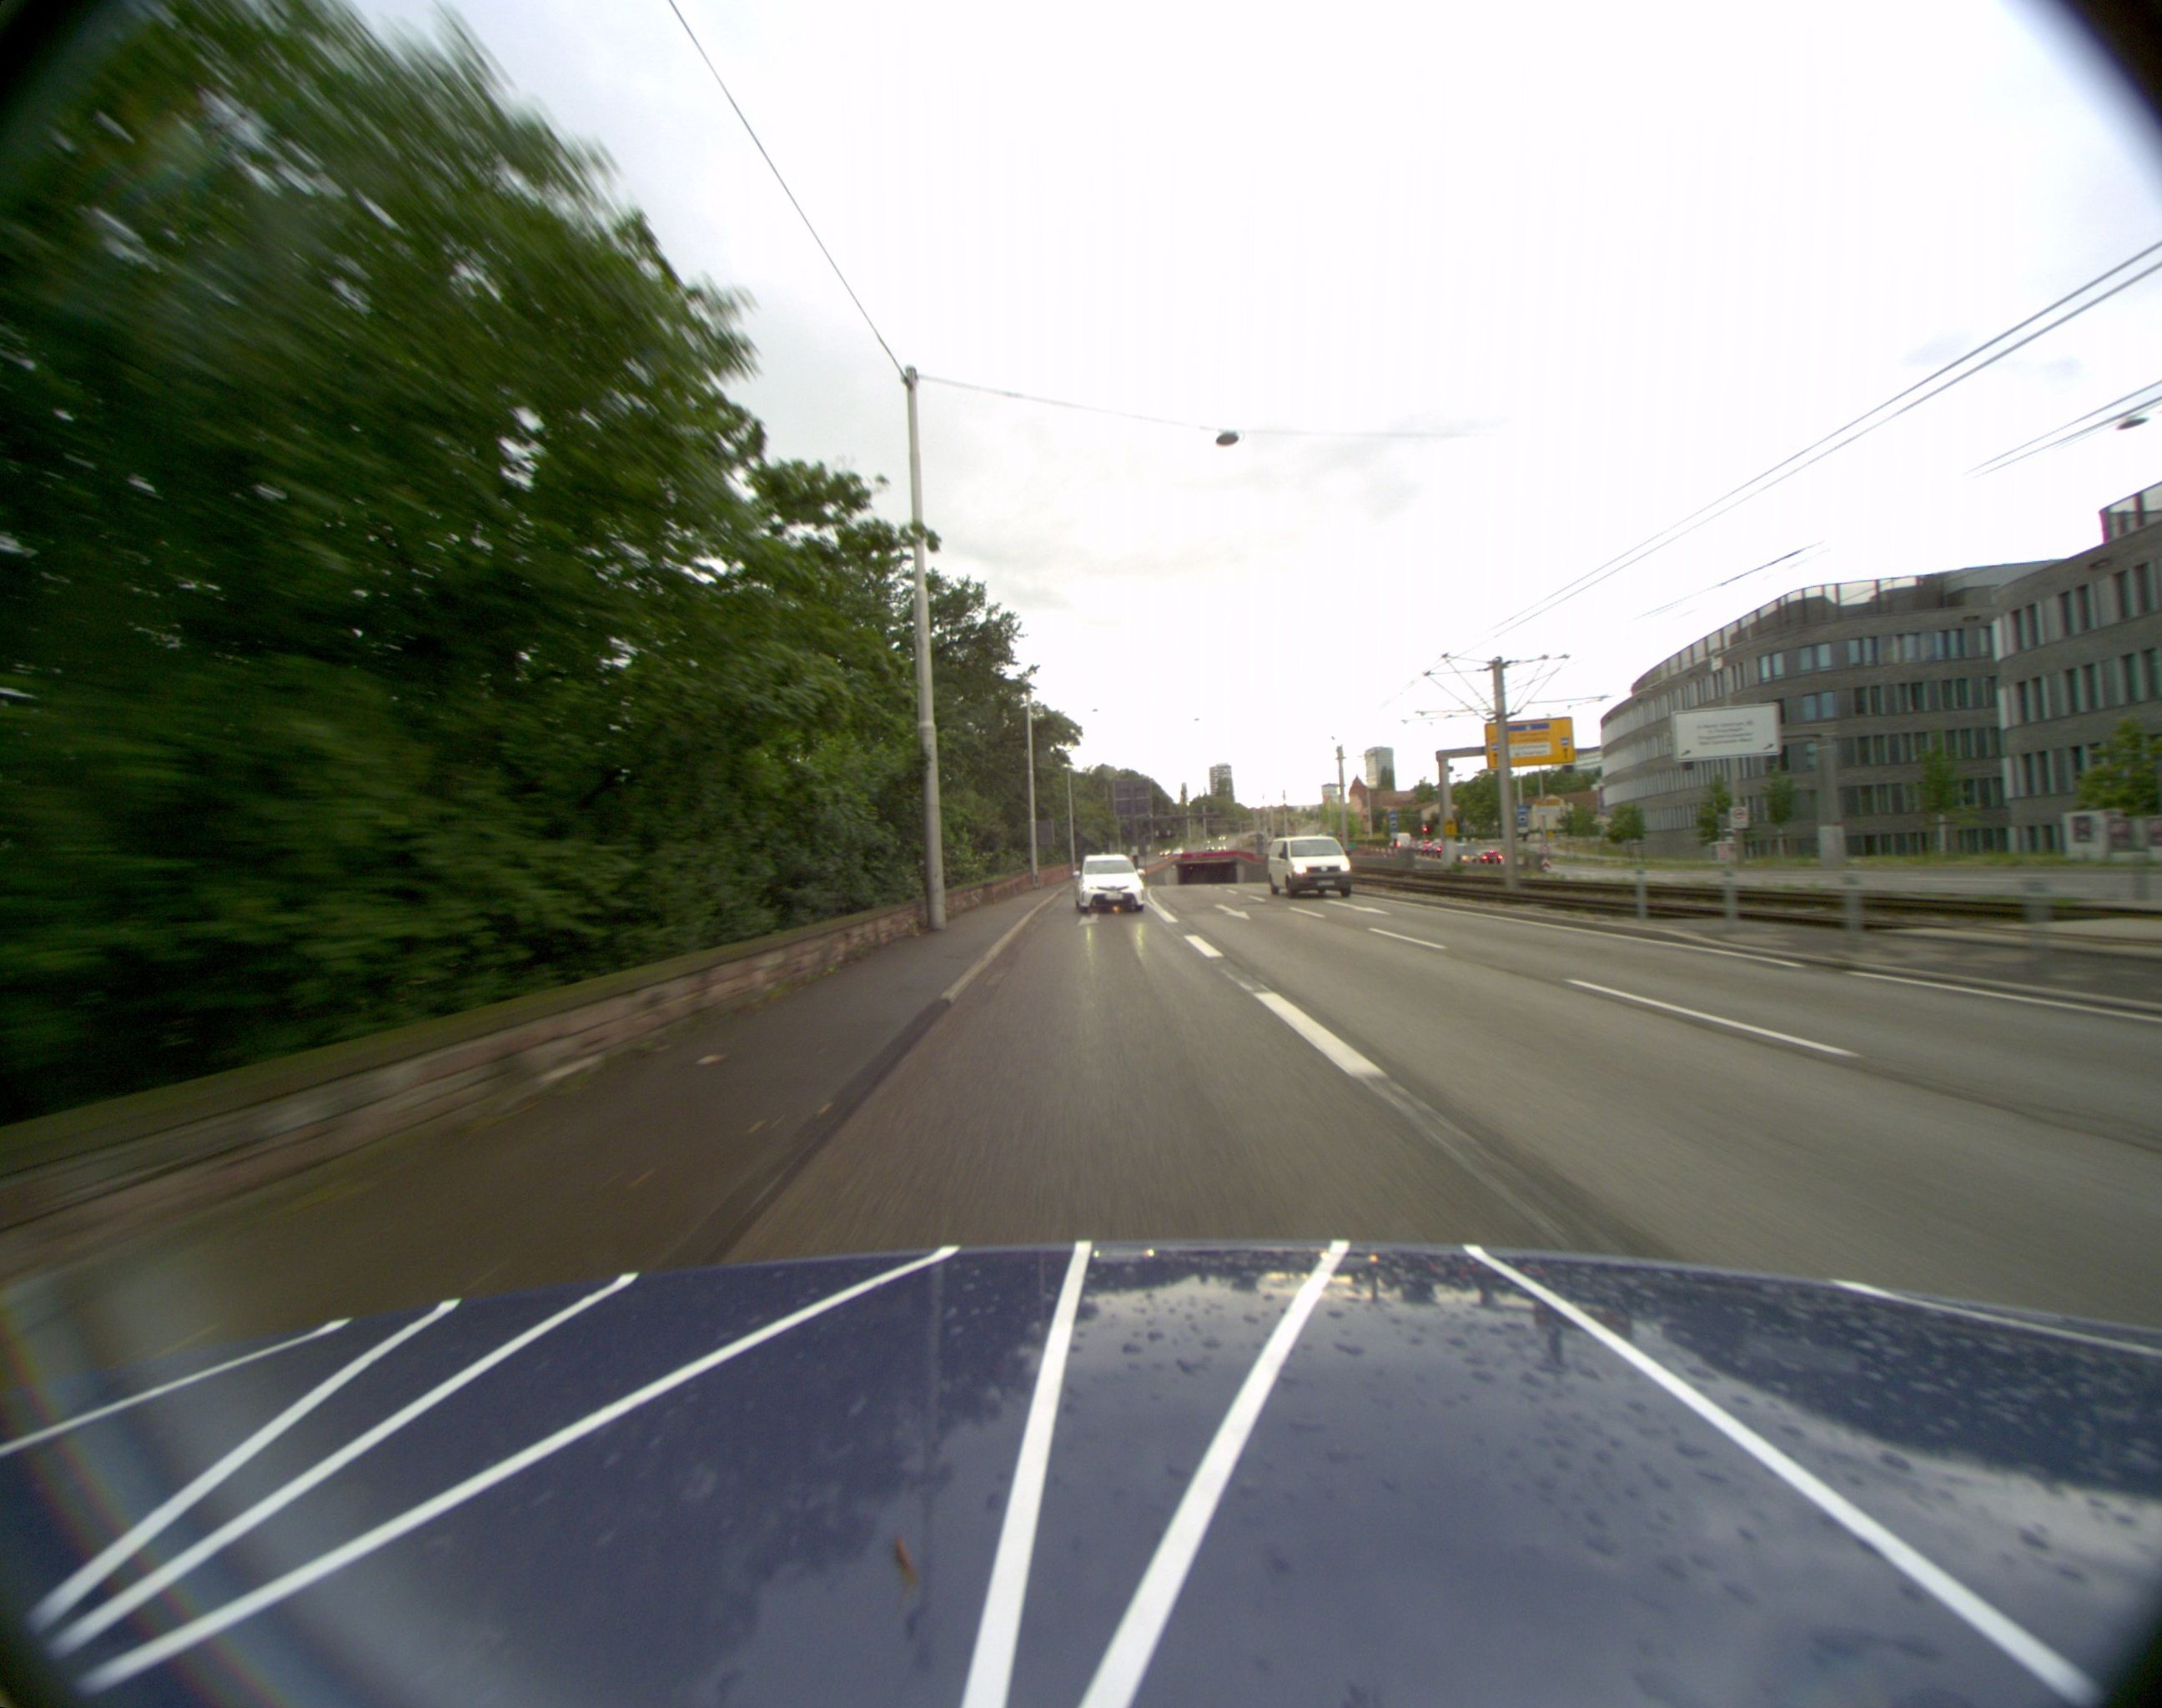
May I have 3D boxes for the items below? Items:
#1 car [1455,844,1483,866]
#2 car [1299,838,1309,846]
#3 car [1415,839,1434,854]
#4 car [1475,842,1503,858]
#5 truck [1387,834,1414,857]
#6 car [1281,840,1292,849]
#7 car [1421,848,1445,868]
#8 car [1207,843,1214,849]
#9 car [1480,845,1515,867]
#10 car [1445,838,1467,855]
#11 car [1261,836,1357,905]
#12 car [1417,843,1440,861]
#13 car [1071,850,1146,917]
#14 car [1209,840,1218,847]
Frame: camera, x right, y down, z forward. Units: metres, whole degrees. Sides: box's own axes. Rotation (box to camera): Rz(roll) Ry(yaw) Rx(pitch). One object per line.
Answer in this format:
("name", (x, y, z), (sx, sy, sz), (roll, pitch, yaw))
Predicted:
("car", (43.124, 0.096, 84.544), (1.996, 2.003, 4.206), (-2, 3, 15))
("car", (61.563, -3.327, 209.464), (1.995, 2.003, 4.004), (-2, 4, 25))
("car", (51.572, -1.135, 114.140), (1.996, 2.003, 4.206), (-2, 3, 15))
("car", (60.621, -0.638, 112.830), (4.209, 2.003, 1.994), (-6, 4, -36))
("truck", (47.962, -1.320, 114.117), (1.998, 3.169, 5.284), (-3, 3, 4))
("car", (50.694, -2.387, 187.363), (1.995, 2.003, 4.004), (-2, 4, 25))
("car", (43.893, 0.470, 94.870), (1.996, 2.003, 4.206), (-2, 3, 15))
("car", (34.756, -2.217, 203.854), (1.800, 1.463, 4.002), (-3, 1, 12))
("car", (40.898, 0.173, 74.687), (1.996, 2.002, 4.004), (-2, 0, 15))
("car", (52.977, -1.081, 107.320), (1.996, 2.003, 4.206), (-2, 3, 15))
("car", (7.354, 0.539, 25.028), (1.998, 2.015, 4.688), (-2, -1, 4))
("car", (45.892, -0.300, 100.367), (1.996, 2.003, 4.206), (-2, 3, 15))
("car", (0.701, 0.803, 21.908), (1.856, 1.741, 3.999), (0, -1, -3))
("car", (35.363, -2.880, 203.124), (1.736, 1.579, 4.004), (-2, 3, 20))
